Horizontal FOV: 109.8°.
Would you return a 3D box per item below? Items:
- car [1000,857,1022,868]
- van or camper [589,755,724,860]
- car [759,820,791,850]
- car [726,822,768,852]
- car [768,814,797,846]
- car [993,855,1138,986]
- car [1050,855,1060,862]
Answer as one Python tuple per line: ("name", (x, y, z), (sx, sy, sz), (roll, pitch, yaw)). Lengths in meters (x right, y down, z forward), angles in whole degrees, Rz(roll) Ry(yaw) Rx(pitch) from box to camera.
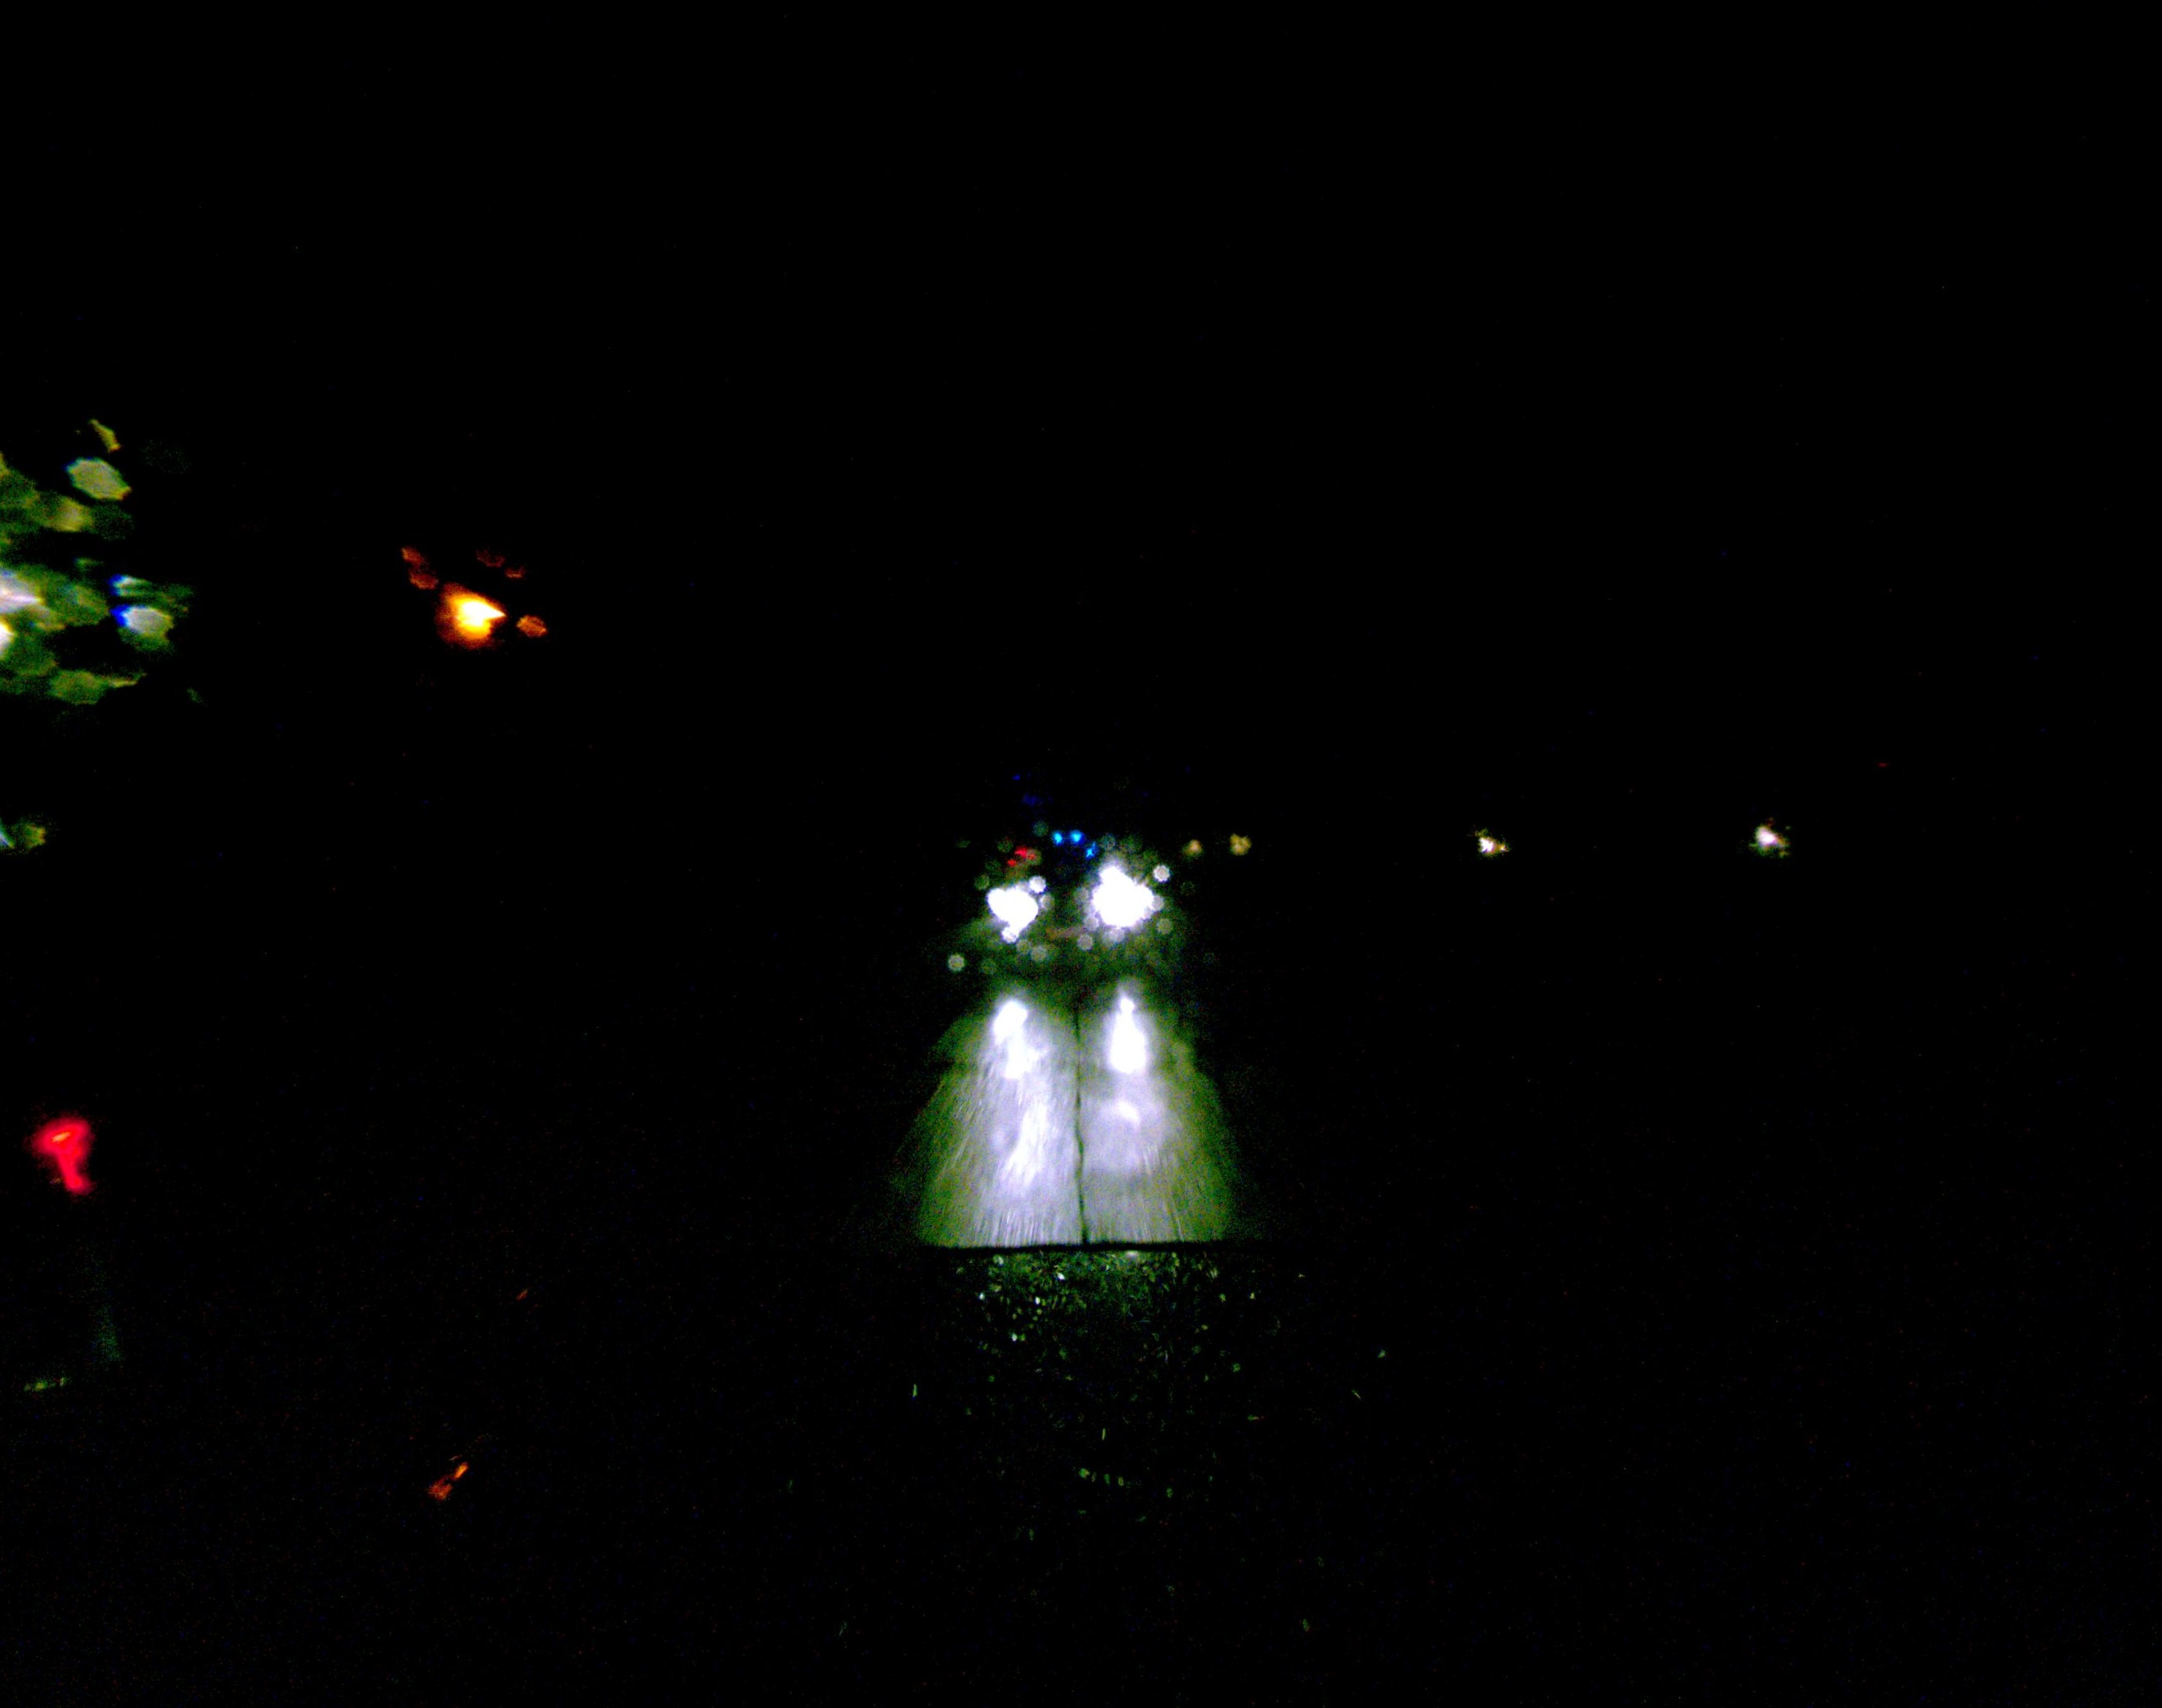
("car", (-14.039, 1.718, 151.732), (3.989, 2.002, 2.004), (-2, 1, 41))
("van or camper", (-12.655, -1.262, 23.128), (2.417, 2.777, 5.763), (-3, 1, -18))
("car", (-26.269, -1.594, 65.331), (1.937, 2.406, 4.249), (-3, 1, -16))
("car", (-23.747, -1.186, 54.149), (2.001, 2.002, 3.995), (-3, 1, -14))
("car", (-27.698, -2.180, 70.546), (1.937, 2.759, 4.249), (-3, 1, -16))
("car", (-0.180, 0.874, 12.105), (1.826, 1.573, 4.354), (-3, 1, 1))
("car", (-7.245, 1.222, 211.394), (2.092, 2.002, 4.709), (-2, 1, -10))
